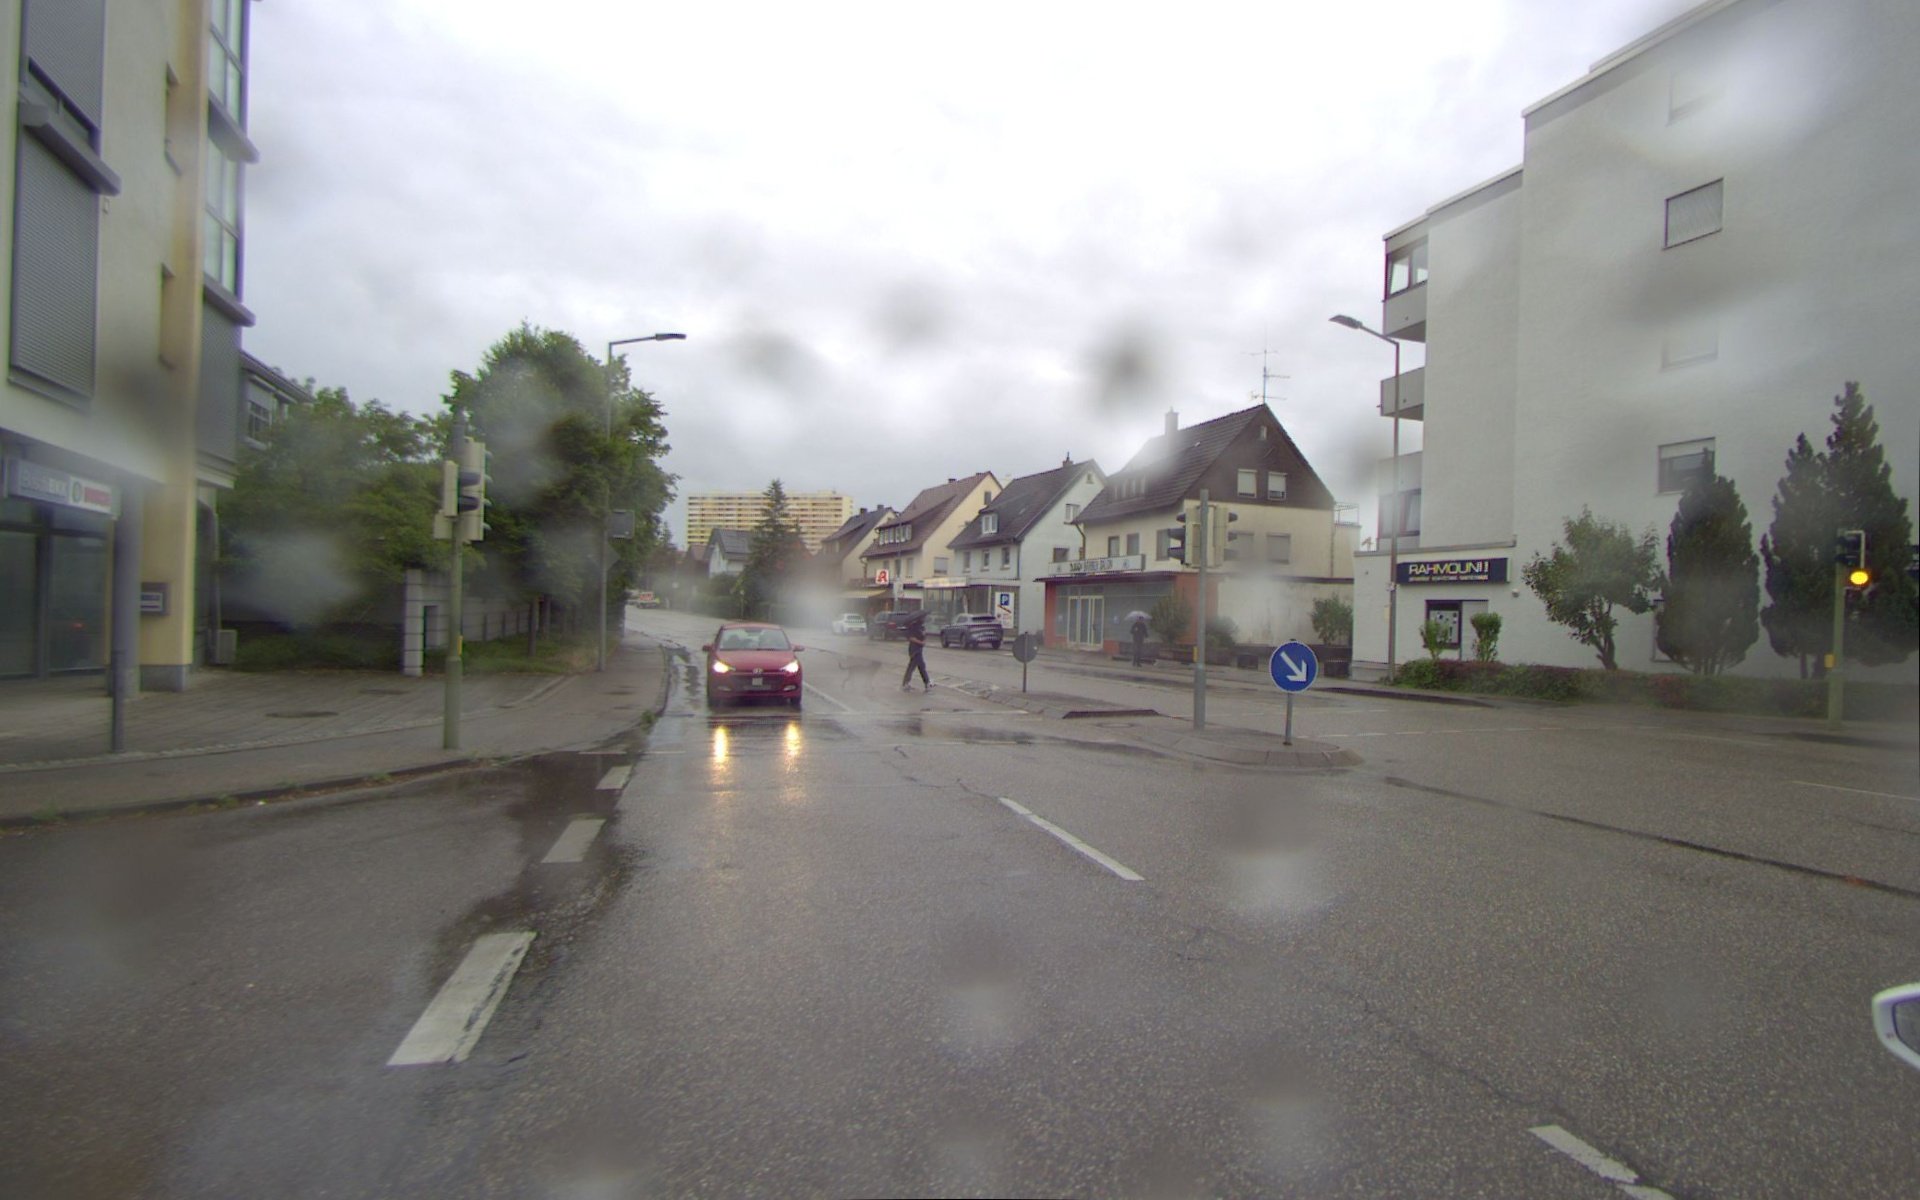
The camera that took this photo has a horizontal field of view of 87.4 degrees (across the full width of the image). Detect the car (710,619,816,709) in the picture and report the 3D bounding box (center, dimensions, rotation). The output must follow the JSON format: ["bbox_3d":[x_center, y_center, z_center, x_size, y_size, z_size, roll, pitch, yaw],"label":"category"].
[{"bbox_3d":[-3.949,1.155,19.713,1.751,1.526,4.091,-1,-1,-15],"label":"car"}]

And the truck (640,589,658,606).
[{"bbox_3d":[-44.199,-0.361,142.675,1.972,2.334,3.977,2,0,-23],"label":"truck"}]

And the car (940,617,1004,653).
[{"bbox_3d":[0.540,1.672,49.651,1.850,1.664,4.776,0,-1,-17],"label":"car"}]

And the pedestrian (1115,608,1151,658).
[{"bbox_3d":[5.829,1.108,33.841,0.743,1.588,0.990,4,-2,-17],"label":"pedestrian"}]

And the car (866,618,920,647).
[{"bbox_3d":[-4.194,1.968,61.776,2.011,1.718,4.940,0,-1,-20],"label":"car"}]

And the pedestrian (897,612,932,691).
[{"bbox_3d":[-1.033,1.170,23.030,0.655,1.724,0.947,2,-1,2],"label":"pedestrian"}]

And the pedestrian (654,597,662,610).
[{"bbox_3d":[-41.723,0.511,138.795,0.820,1.821,0.789,1,0,-45],"label":"pedestrian"}]

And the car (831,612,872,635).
[{"bbox_3d":[-7.661,1.632,70.644,1.794,1.467,4.181,0,0,-22],"label":"car"}]
